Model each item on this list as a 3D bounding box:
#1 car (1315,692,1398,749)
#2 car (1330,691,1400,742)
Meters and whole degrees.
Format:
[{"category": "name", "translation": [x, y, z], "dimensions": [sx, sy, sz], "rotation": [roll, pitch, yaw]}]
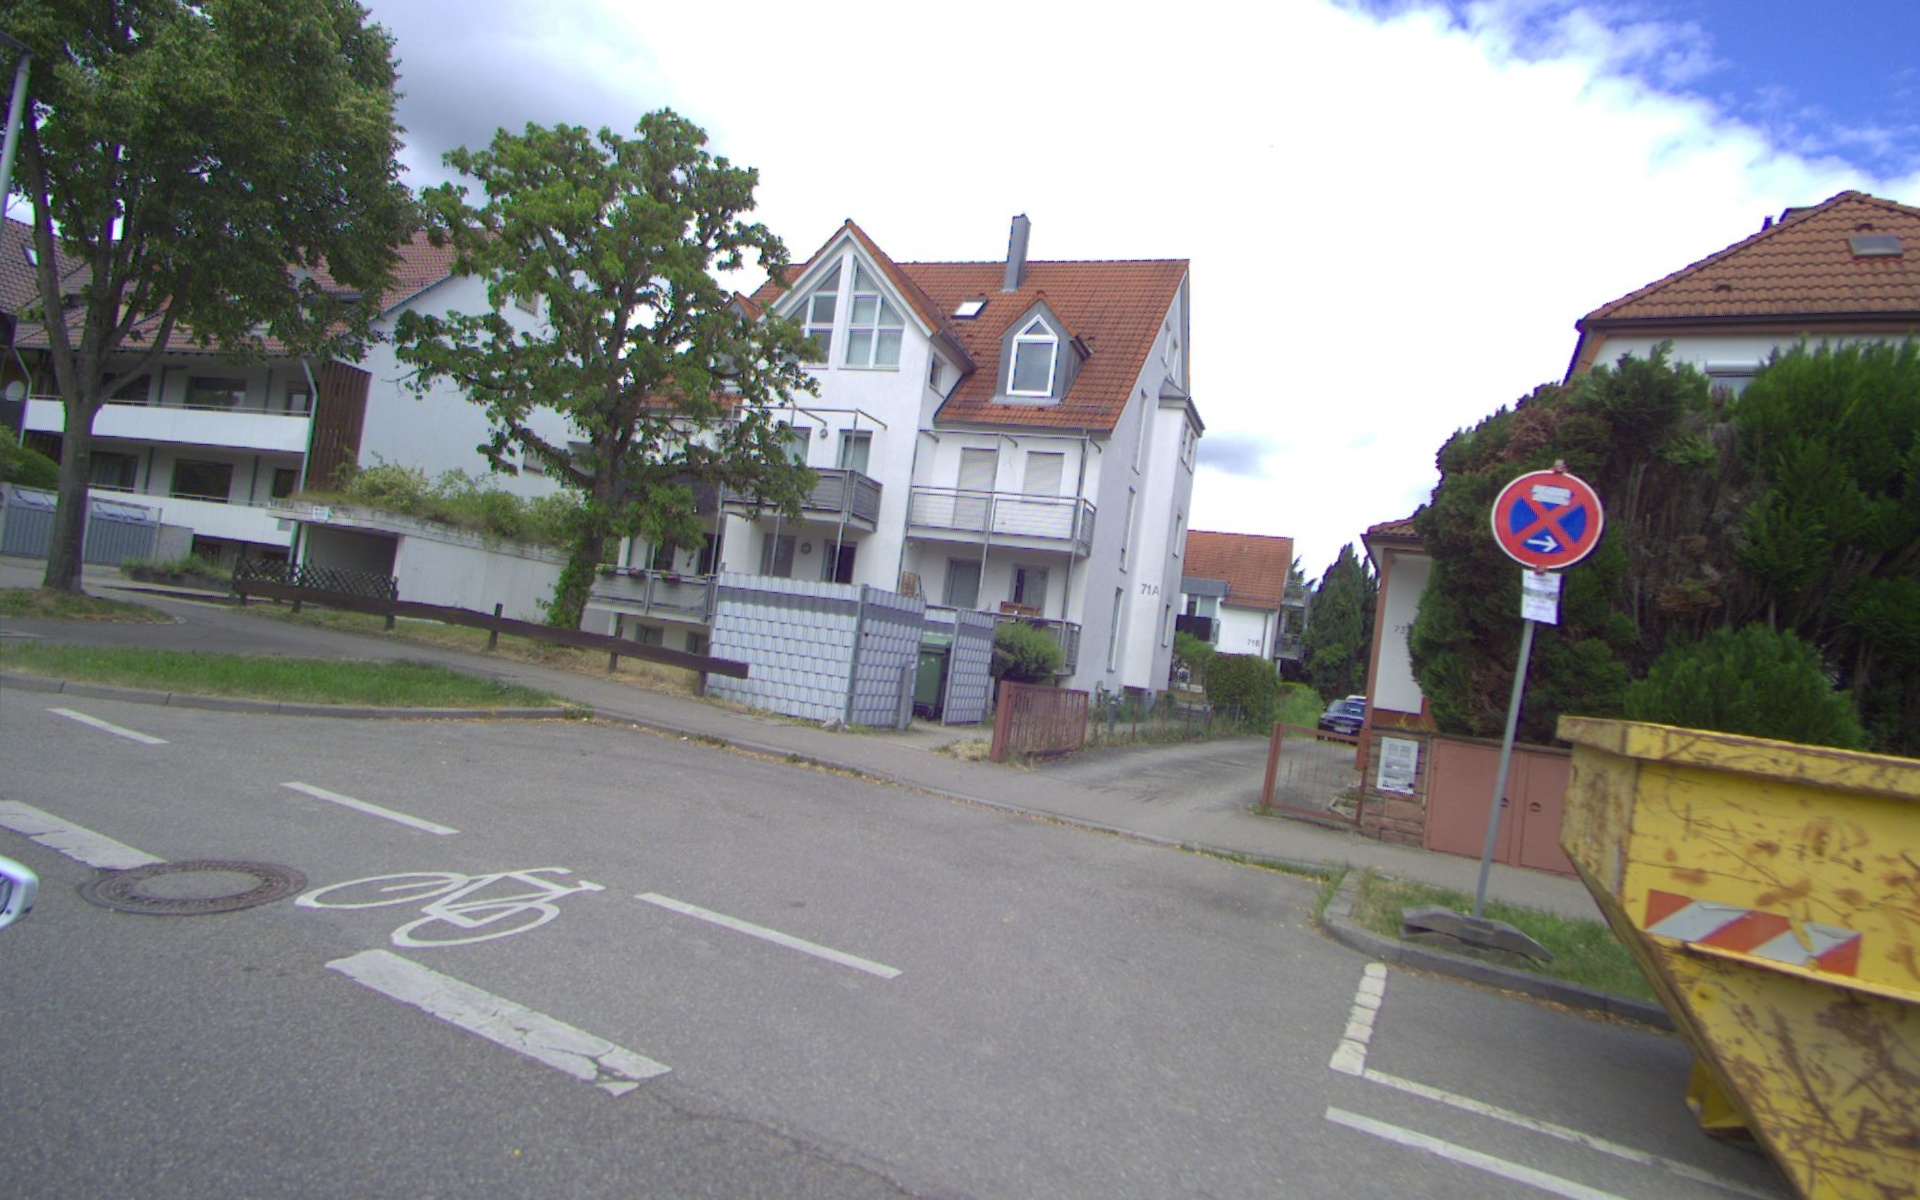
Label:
[{"category": "car", "translation": [13.272, 4.003, 33.520], "dimensions": [1.966, 1.503, 3.998], "rotation": [7, -2, 29]}, {"category": "car", "translation": [15.436, 4.415, 38.208], "dimensions": [1.886, 1.536, 3.998], "rotation": [7, -2, 29]}]
